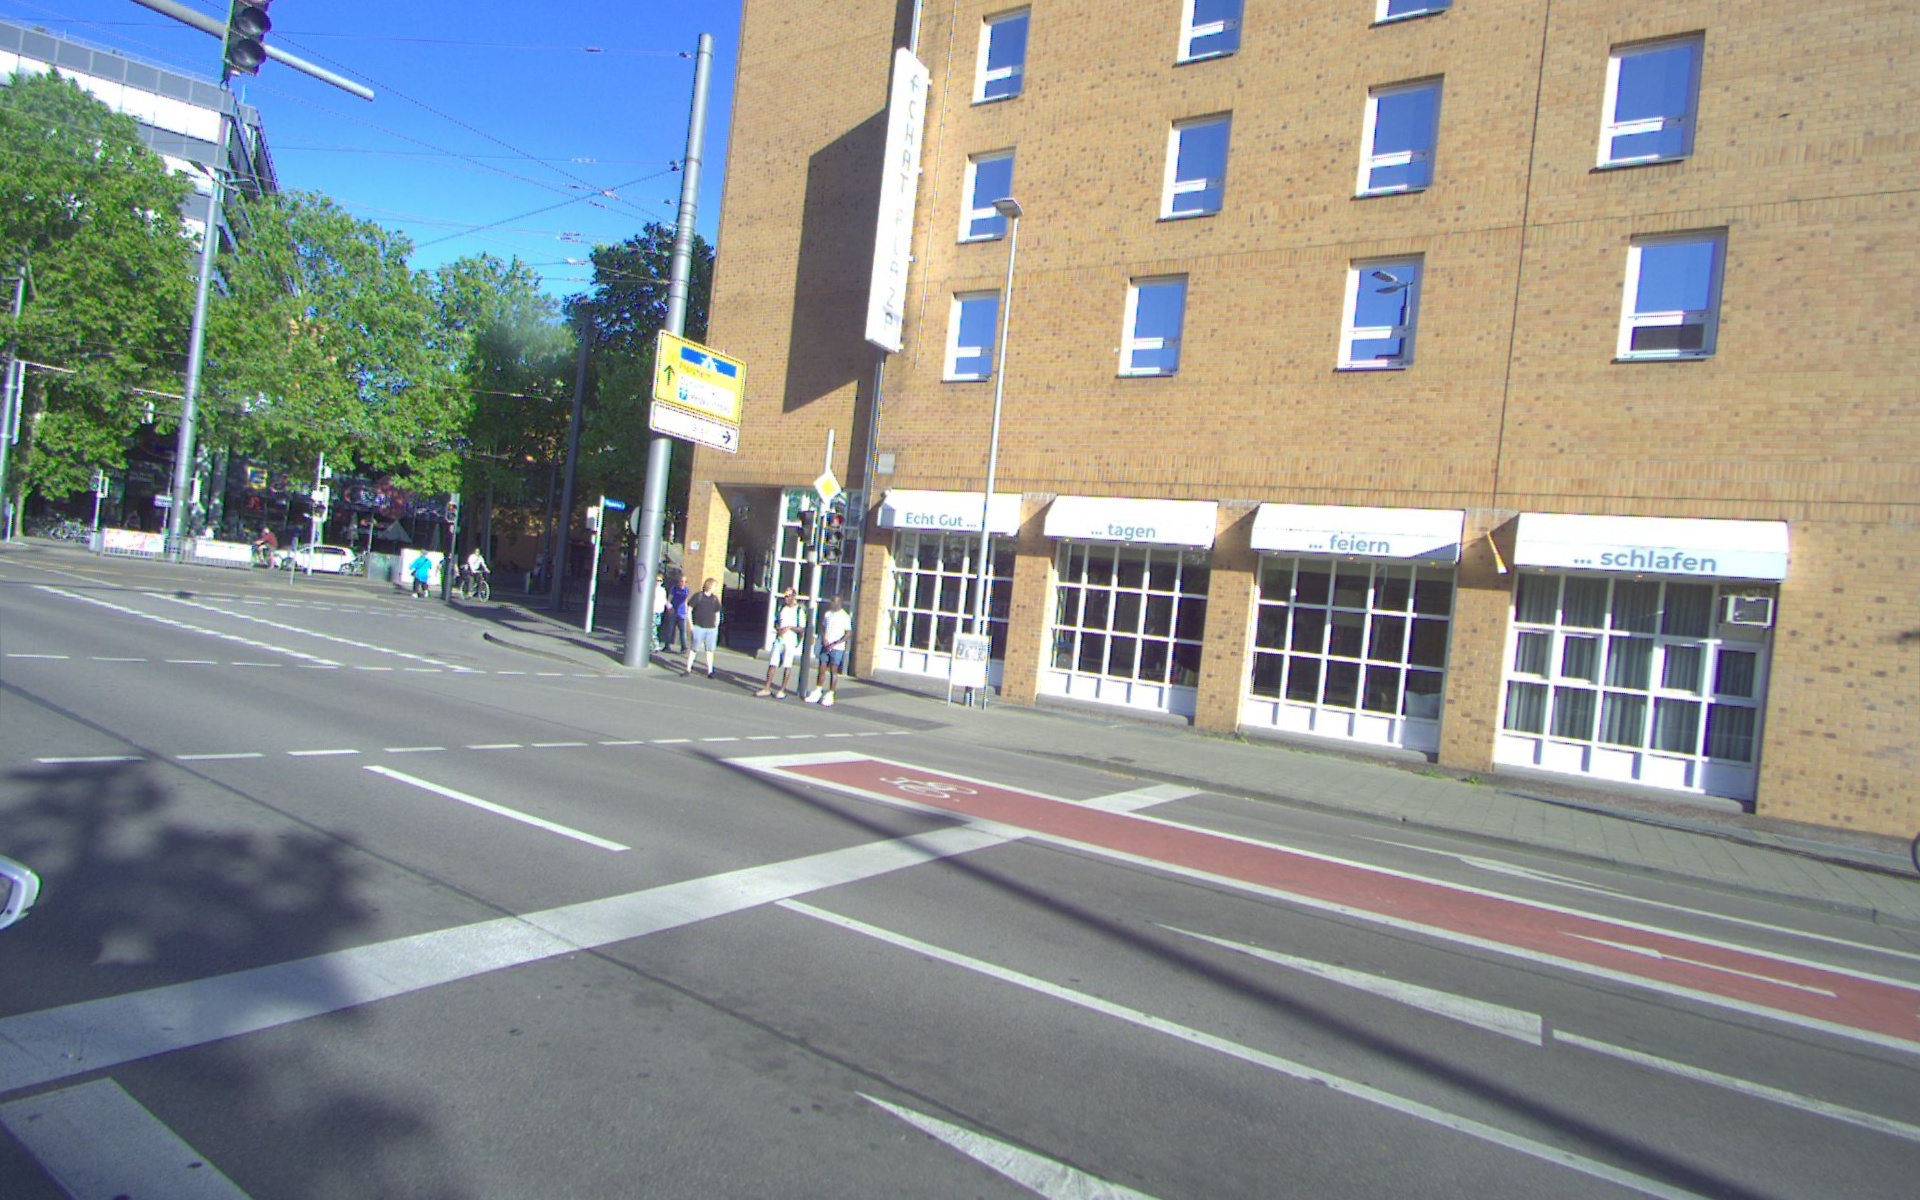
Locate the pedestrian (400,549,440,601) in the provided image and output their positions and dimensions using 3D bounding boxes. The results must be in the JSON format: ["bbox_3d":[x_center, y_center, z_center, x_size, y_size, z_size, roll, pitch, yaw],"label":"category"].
[{"bbox_3d":[-17.441,-0.815,32.484,0.729,1.557,0.677,6,-1,24],"label":"pedestrian"}]

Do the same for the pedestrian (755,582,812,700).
[{"bbox_3d":[-2.893,0.662,16.560,0.719,1.857,0.497,5,1,-3],"label":"pedestrian"}]

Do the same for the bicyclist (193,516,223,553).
[{"bbox_3d":[-44.027,-3.833,58.885,1.219,1.955,0.827,7,0,-35],"label":"bicyclist"}]

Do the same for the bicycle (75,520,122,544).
[{"bbox_3d":[-43.278,-3.416,50.562,0.386,0.998,1.700,7,0,45],"label":"bicycle"}]

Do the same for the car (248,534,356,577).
[{"bbox_3d":[-32.797,-2.185,50.244,1.969,1.503,3.990,6,-3,36],"label":"car"}]

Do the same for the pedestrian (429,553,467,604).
[{"bbox_3d":[-17.015,-0.720,33.459,0.729,1.557,0.652,6,-1,24],"label":"pedestrian"}]

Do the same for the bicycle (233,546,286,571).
[{"bbox_3d":[-32.767,-1.934,47.063,0.642,0.921,1.854,6,-1,36],"label":"bicycle"}]

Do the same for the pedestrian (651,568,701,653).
[{"bbox_3d":[-6.138,0.234,21.731,0.592,1.747,0.603,6,-1,30],"label":"pedestrian"}]

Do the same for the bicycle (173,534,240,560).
[{"bbox_3d":[-44.062,-3.091,58.868,3.023,1.127,0.827,8,-1,-35],"label":"bicycle"}]

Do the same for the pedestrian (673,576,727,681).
[{"bbox_3d":[-4.683,0.513,18.142,0.683,1.789,0.573,7,0,-9],"label":"pedestrian"}]

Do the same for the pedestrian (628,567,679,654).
[{"bbox_3d":[-6.432,0.223,21.116,0.648,1.723,0.562,6,-1,34],"label":"pedestrian"}]

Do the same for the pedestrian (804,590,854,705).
[{"bbox_3d":[-2.133,0.766,16.312,0.402,1.797,0.572,4,2,-43],"label":"pedestrian"}]

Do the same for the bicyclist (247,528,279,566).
[{"bbox_3d":[-32.654,-2.479,47.136,0.627,1.635,0.926,7,0,35],"label":"bicyclist"}]

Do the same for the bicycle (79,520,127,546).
[{"bbox_3d":[-41.702,-3.267,48.971,0.386,0.998,1.700,7,0,45],"label":"bicycle"}]

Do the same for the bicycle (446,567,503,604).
[{"bbox_3d":[-16.886,-0.496,34.950,1.891,1.064,0.791,6,-2,32],"label":"bicycle"}]

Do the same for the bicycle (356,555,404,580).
[{"bbox_3d":[-34.235,-1.897,59.450,0.861,1.250,2.934,7,-1,5],"label":"bicycle"}]

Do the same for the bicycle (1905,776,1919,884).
[{"bbox_3d":[10.849,2.489,10.058,1.849,1.065,0.600,6,4,29],"label":"bicycle"}]

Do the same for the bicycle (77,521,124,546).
[{"bbox_3d":[-42.324,-3.287,49.551,0.386,0.998,1.700,7,0,45],"label":"bicycle"}]

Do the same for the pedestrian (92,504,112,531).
[{"bbox_3d":[-54.024,-5.193,63.377,0.770,1.545,0.559,6,0,-33],"label":"pedestrian"}]

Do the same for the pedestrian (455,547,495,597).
[{"bbox_3d":[-16.887,-0.971,35.000,0.824,1.612,0.771,6,-1,31],"label":"pedestrian"}]

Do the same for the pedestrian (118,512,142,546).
[{"bbox_3d":[-49.842,-4.272,60.399,0.845,1.873,0.800,10,-3,-44],"label":"pedestrian"}]
